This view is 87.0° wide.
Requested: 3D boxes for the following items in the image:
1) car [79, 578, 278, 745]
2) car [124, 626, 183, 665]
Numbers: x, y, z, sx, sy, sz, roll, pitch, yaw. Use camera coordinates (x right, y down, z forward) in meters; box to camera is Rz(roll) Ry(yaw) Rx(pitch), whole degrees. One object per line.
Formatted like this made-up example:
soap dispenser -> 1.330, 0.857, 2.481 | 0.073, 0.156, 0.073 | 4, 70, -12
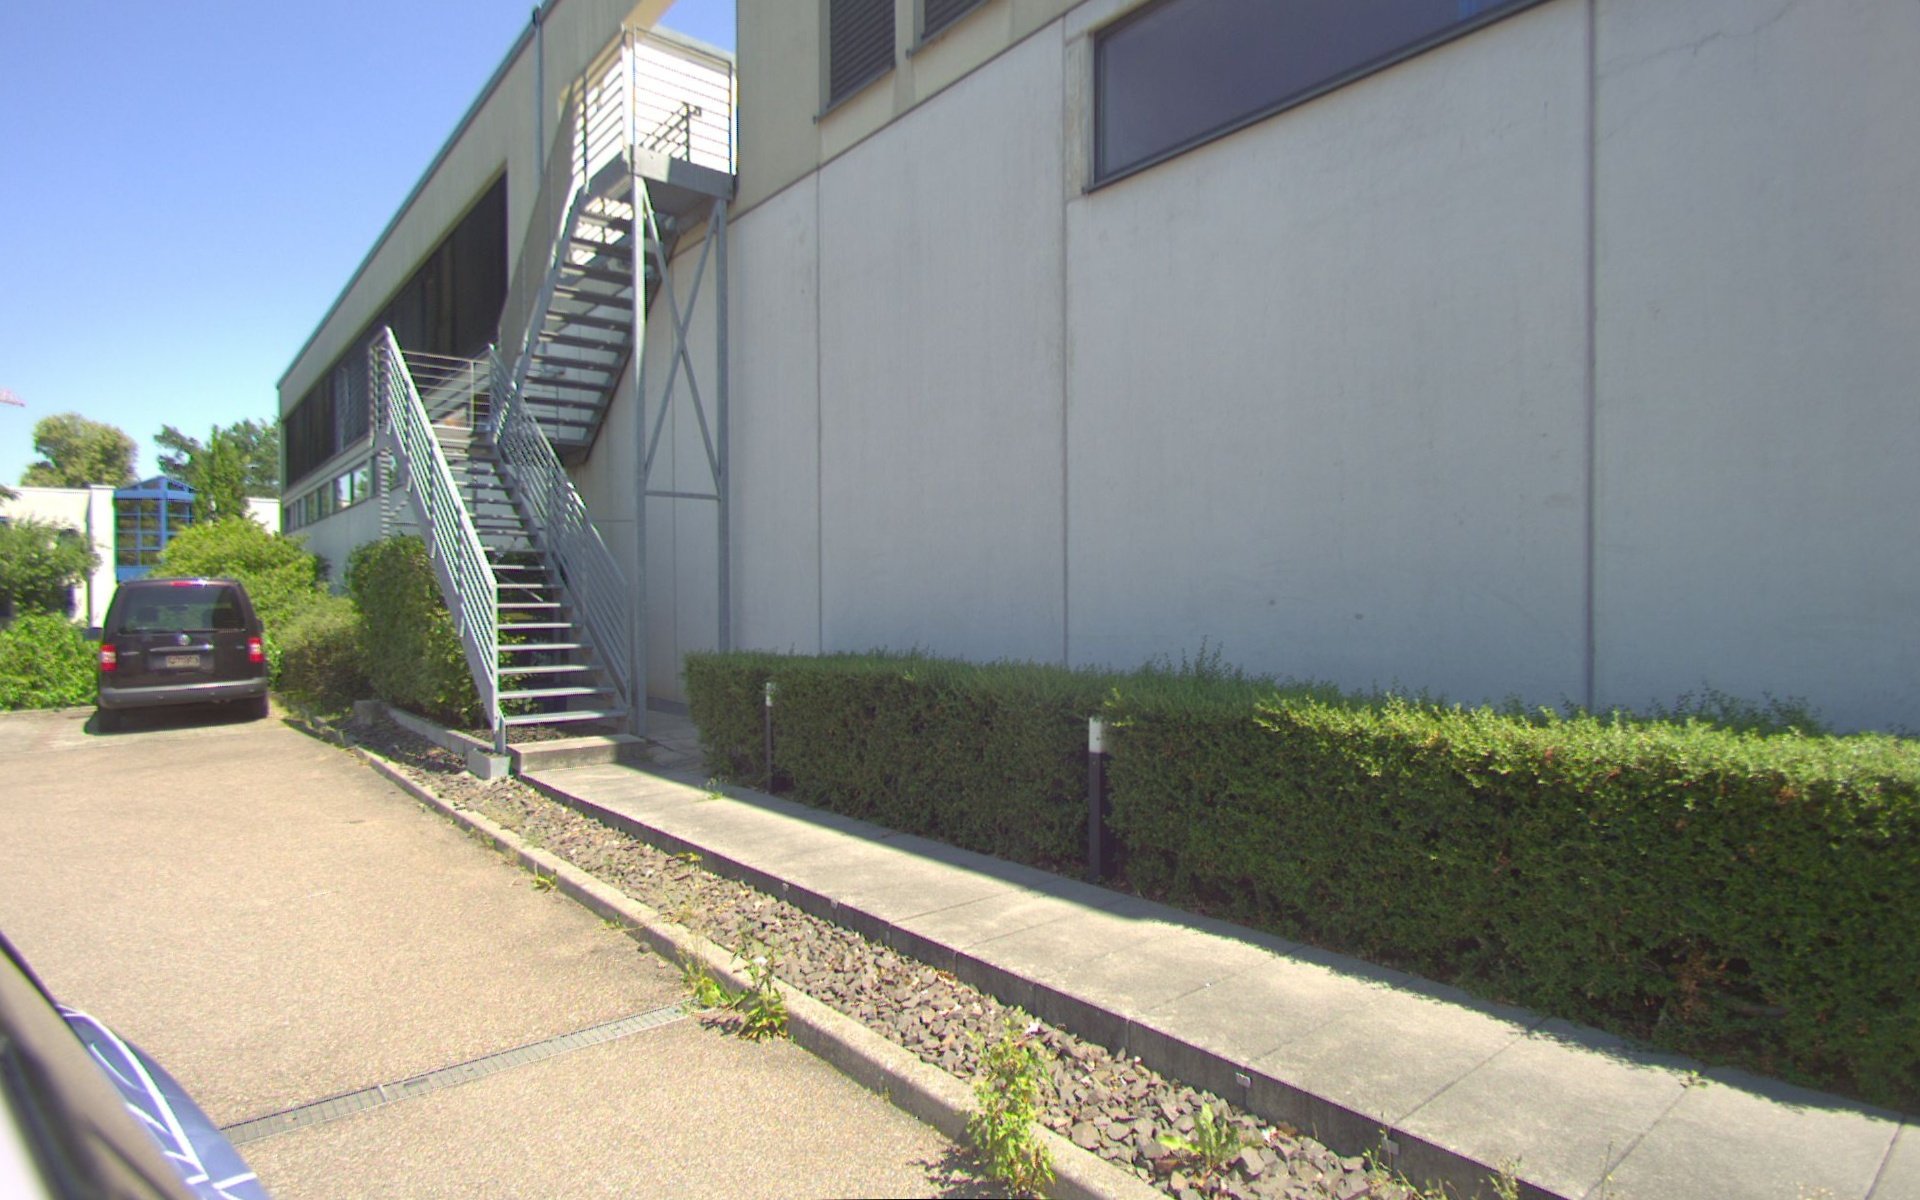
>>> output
car -> -10.601, 0.707, 13.640 | 1.839, 1.874, 4.235 | -2, 0, -41
car -> -37.463, 2.066, 46.972 | 1.809, 1.579, 4.004 | -1, 1, -43
